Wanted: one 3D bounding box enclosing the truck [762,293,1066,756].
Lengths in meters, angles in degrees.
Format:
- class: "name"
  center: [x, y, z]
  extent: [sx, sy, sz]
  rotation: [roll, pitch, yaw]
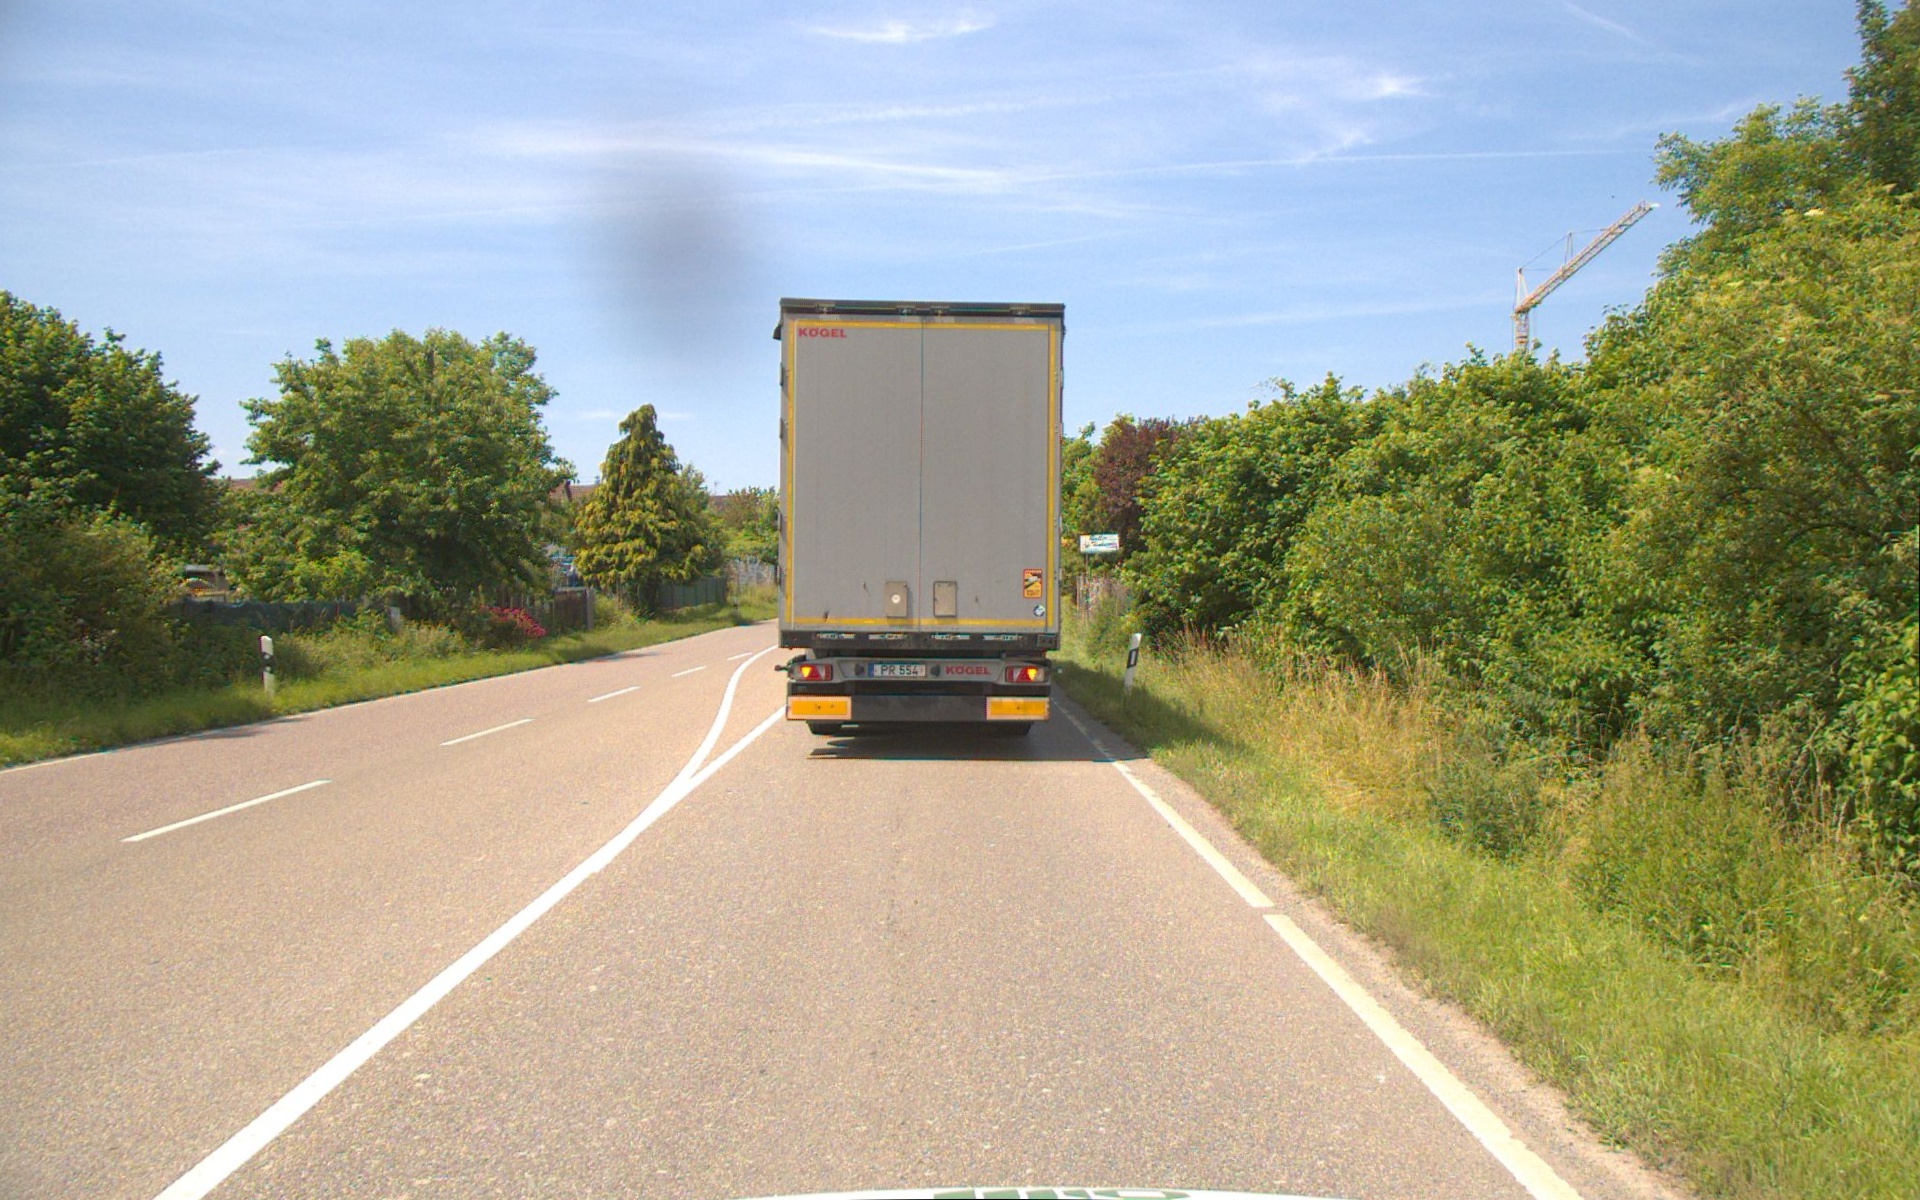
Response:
- class: "truck"
  center: [-0.555, -0.669, 18.760]
  extent: [2.594, 3.985, 8.821]
  rotation: [1, 0, -2]
